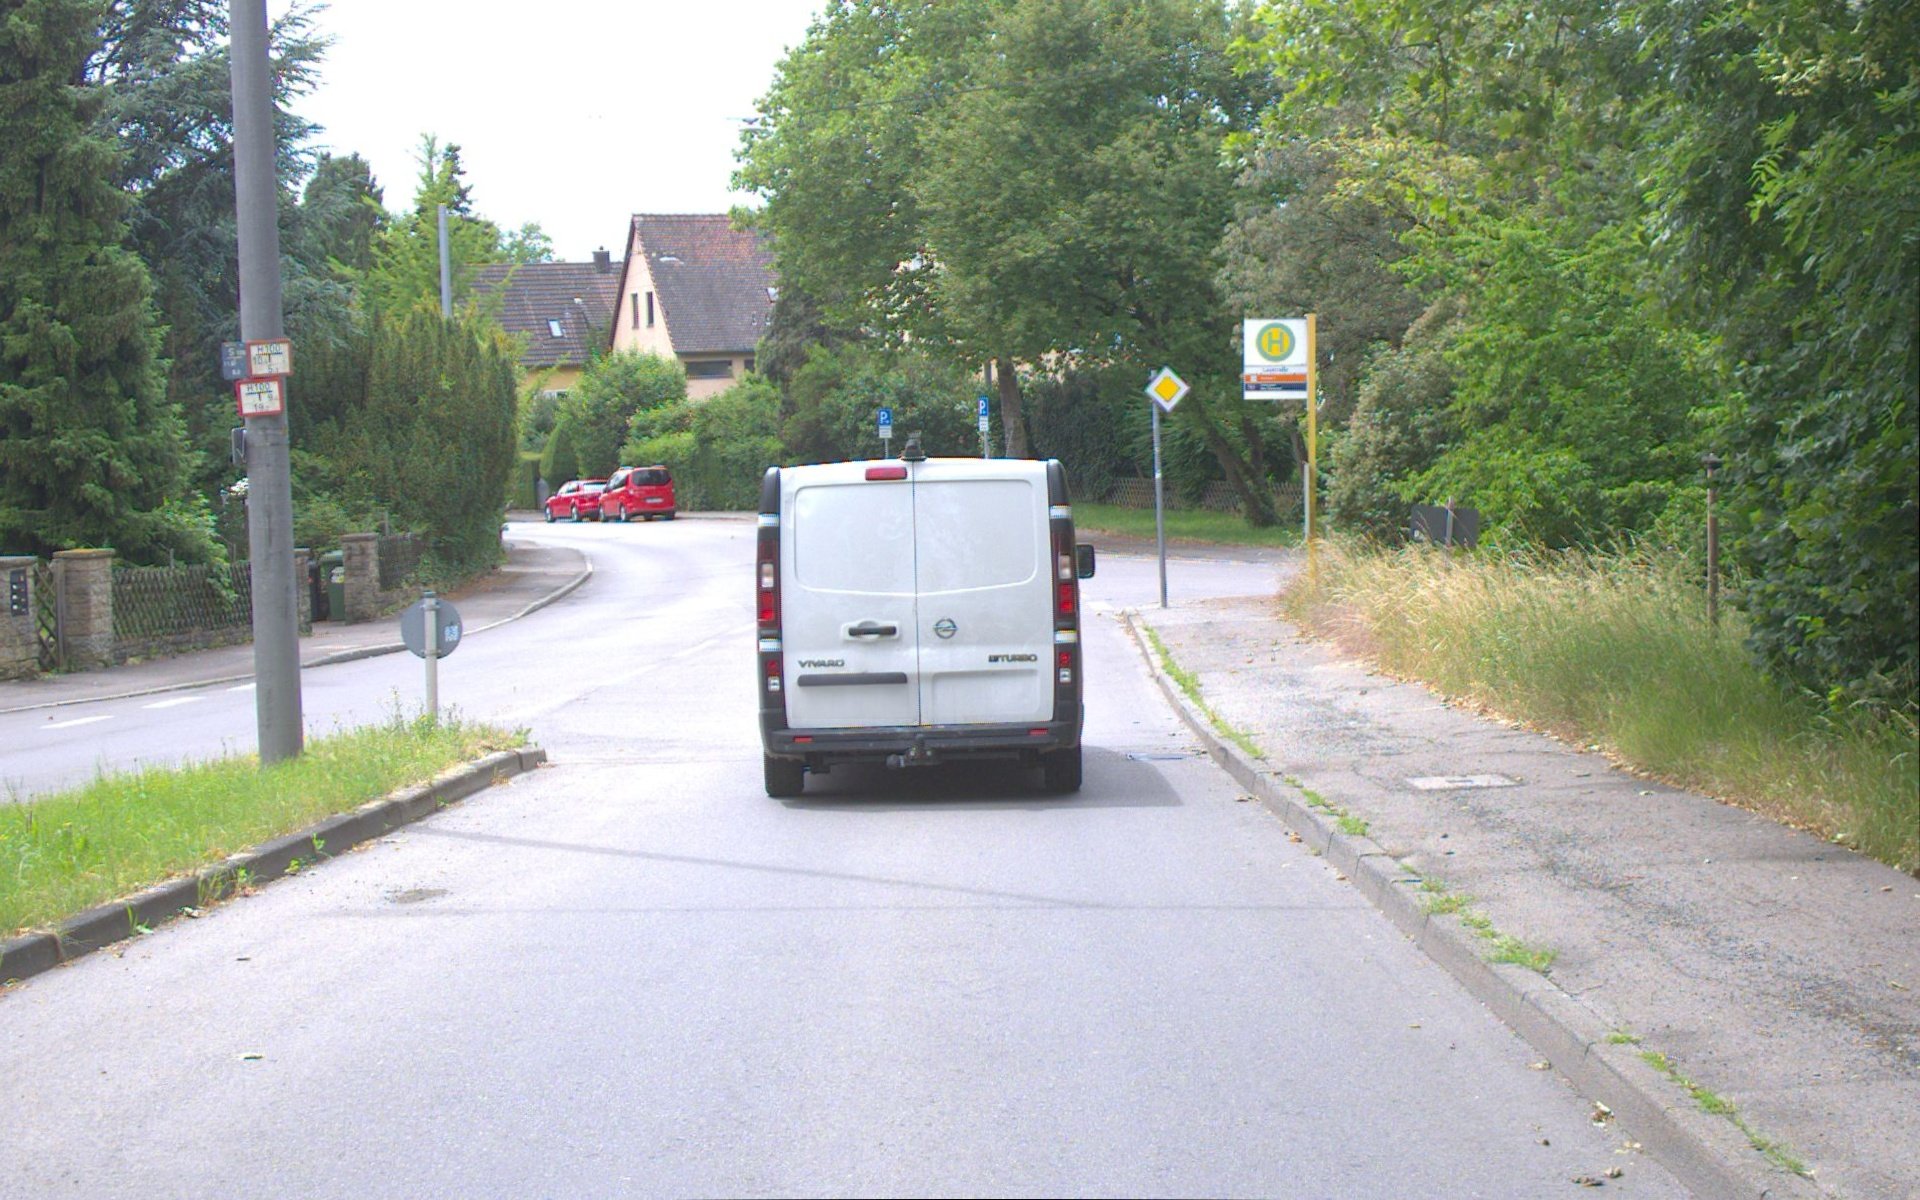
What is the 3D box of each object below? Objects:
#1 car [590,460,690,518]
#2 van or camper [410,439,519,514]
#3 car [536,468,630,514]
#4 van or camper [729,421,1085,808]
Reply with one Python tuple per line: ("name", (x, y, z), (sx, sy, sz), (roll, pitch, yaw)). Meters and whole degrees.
("car", (-10.421, -3.604, 111.660), (1.760, 1.791, 4.950), (-3, 3, -23))
("van or camper", (-18.605, -4.635, 128.870), (2.066, 2.665, 6.330), (-4, 3, -26))
("car", (-12.796, -3.694, 116.385), (1.712, 1.462, 4.269), (-3, 3, -27))
("van or camper", (-0.219, -0.039, 21.320), (1.924, 2.006, 4.830), (-1, 4, 2))
